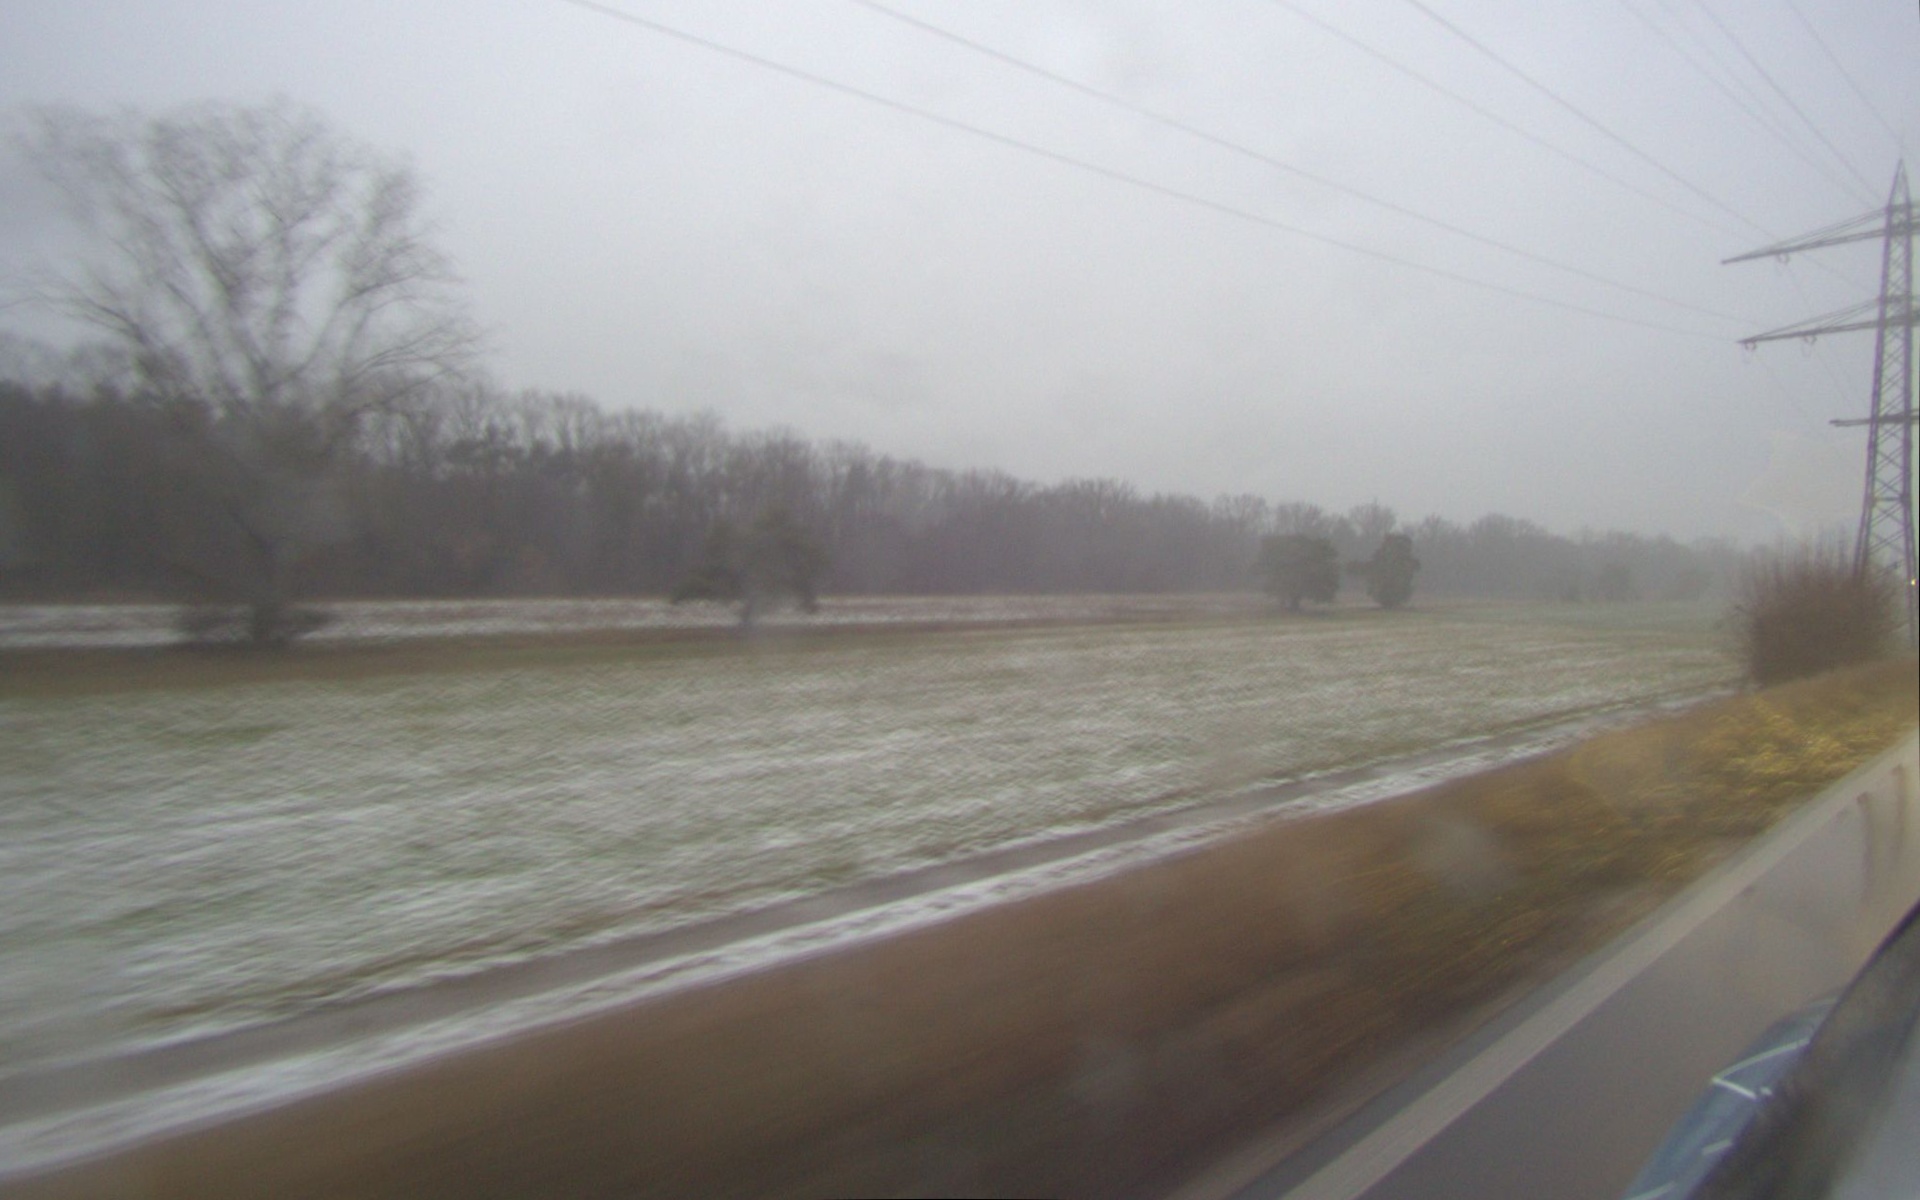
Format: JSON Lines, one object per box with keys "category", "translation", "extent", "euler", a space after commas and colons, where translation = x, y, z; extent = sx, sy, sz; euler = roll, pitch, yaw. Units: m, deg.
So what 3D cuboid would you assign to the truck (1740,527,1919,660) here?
{"category": "truck", "translation": [22.897, -0.191, 26.444], "extent": [7.721, 3.015, 2.538], "euler": [-1, 1, -41]}
